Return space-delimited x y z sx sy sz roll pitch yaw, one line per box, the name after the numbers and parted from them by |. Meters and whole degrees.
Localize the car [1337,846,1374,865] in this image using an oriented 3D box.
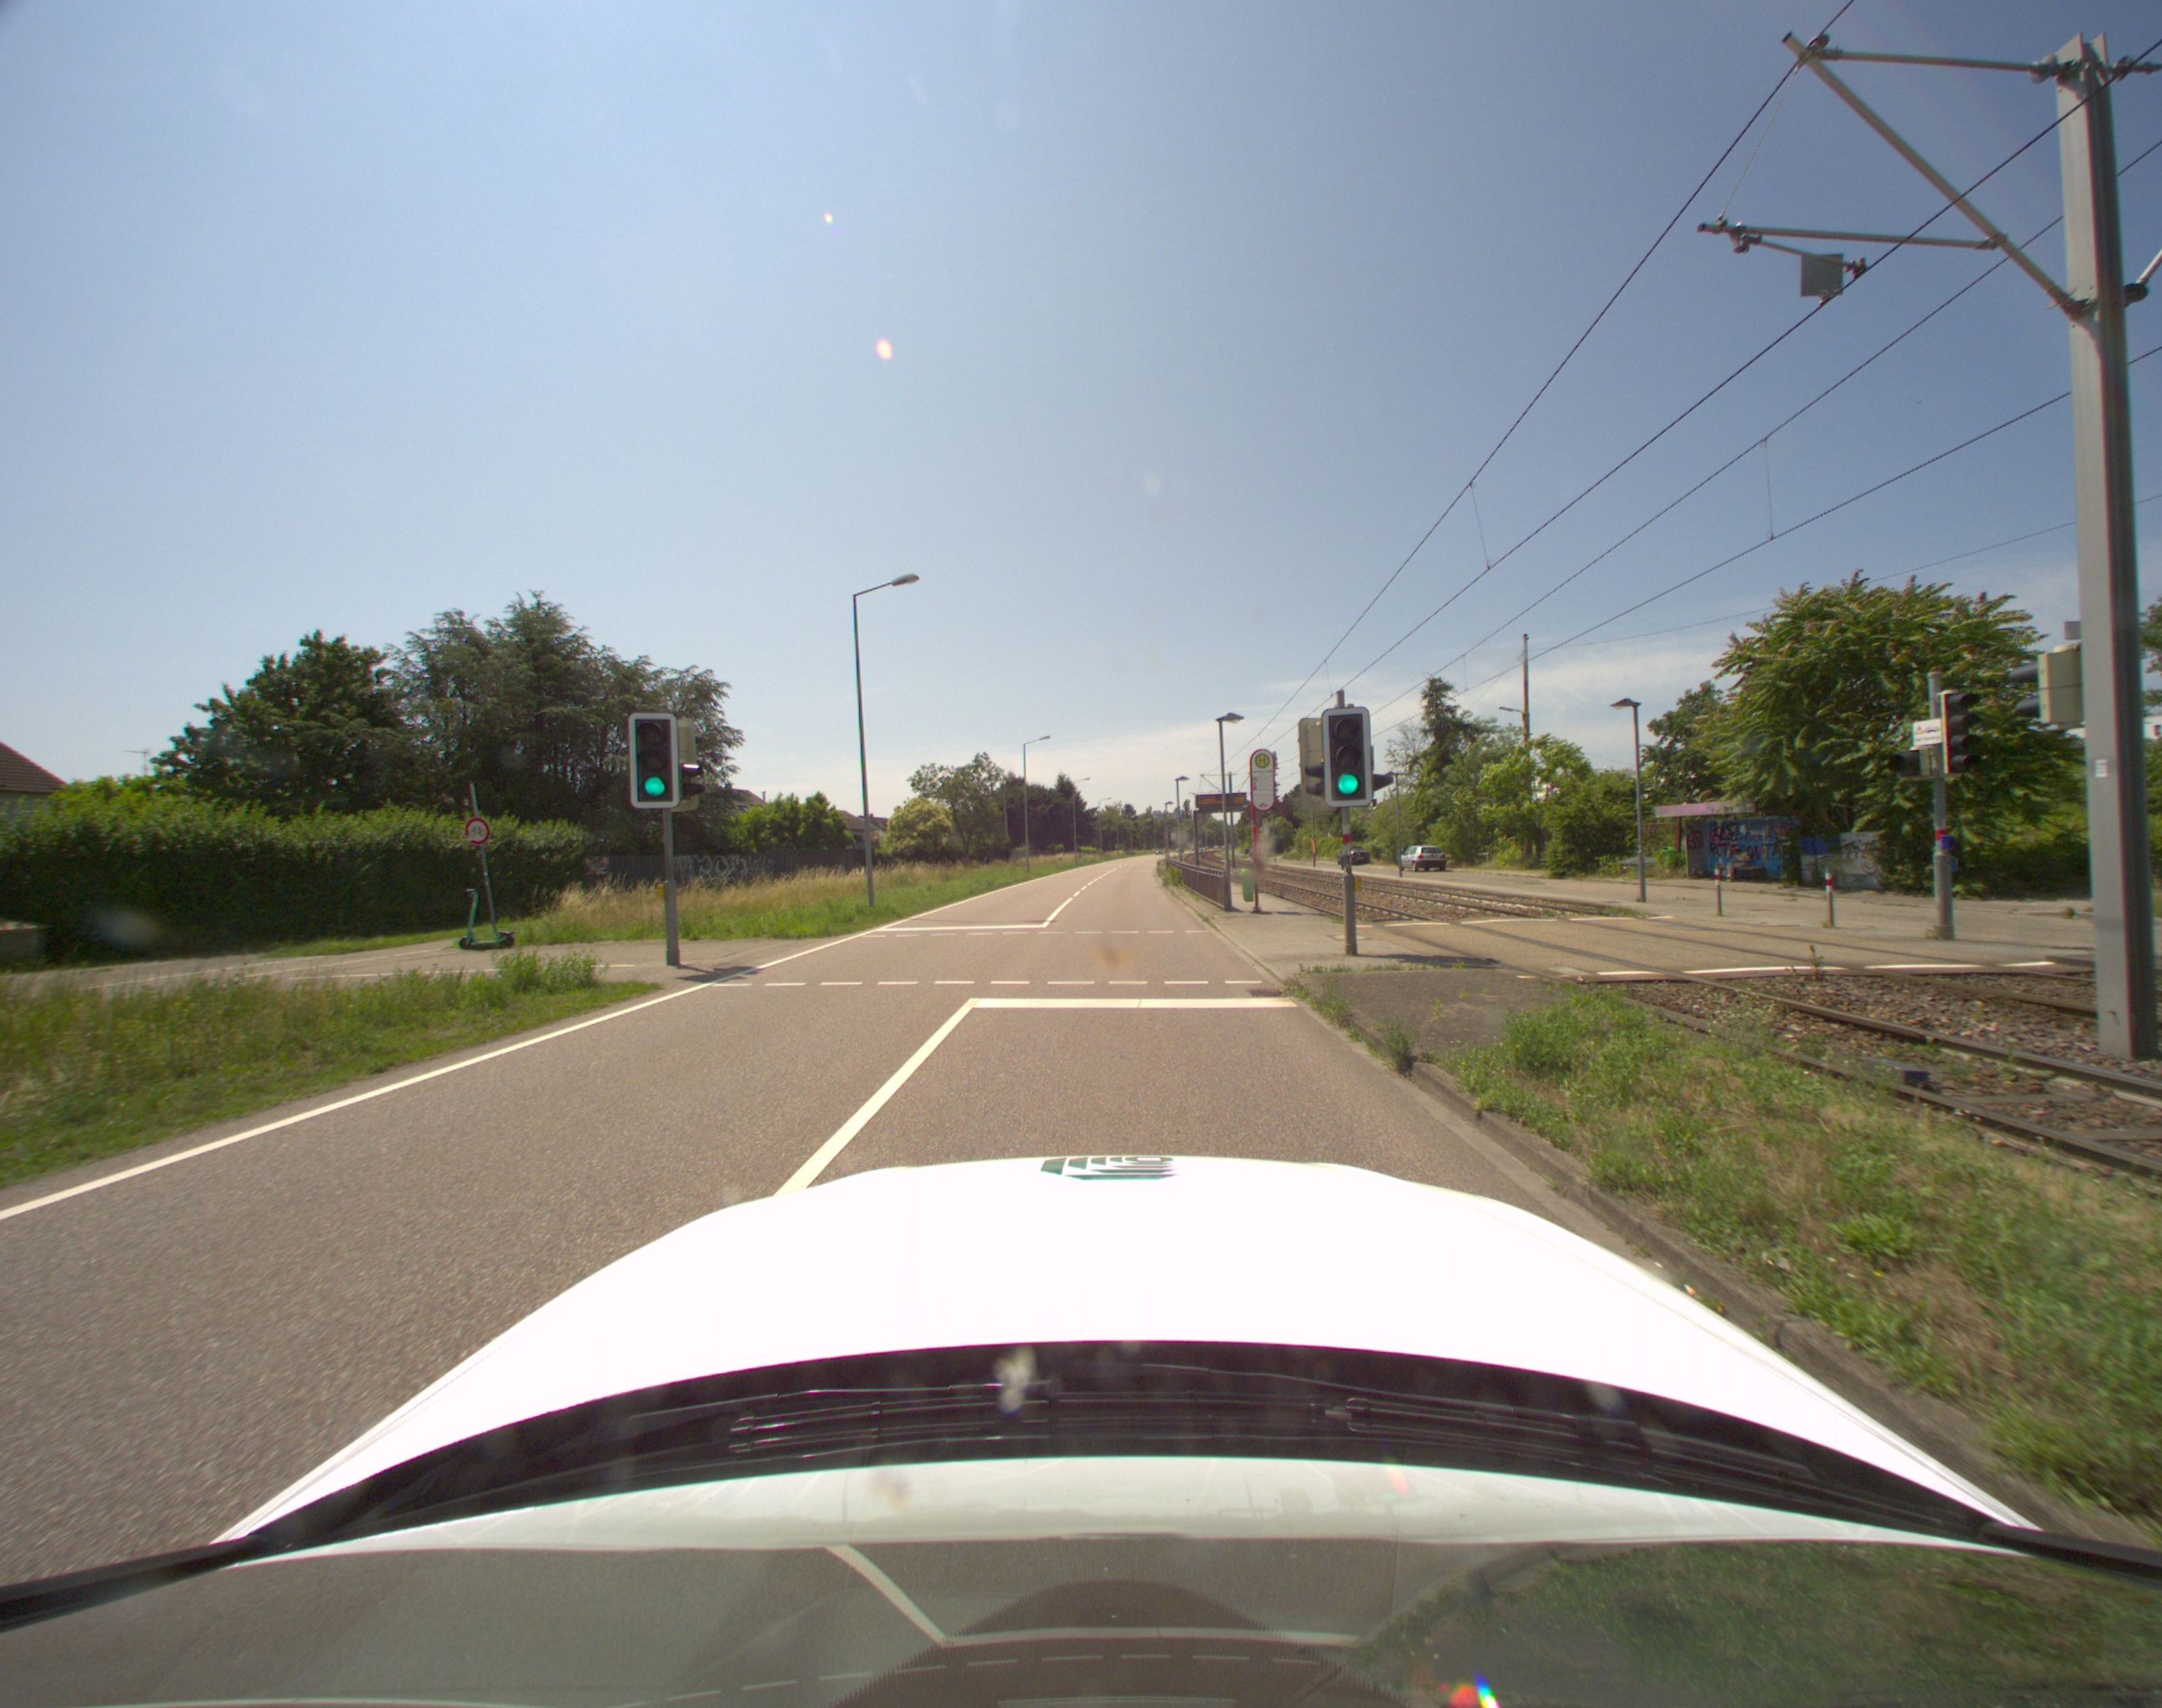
21.532 0.087 64.024 1.612 1.422 4.880 -1 0 5 | car

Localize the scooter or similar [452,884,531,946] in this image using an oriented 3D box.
-11.622 1.195 16.079 1.017 1.128 0.647 -2 0 -7 | scooter or similar

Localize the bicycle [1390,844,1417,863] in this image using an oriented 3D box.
22.813 -0.032 57.622 0.706 1.269 1.664 -2 0 -30 | bicycle

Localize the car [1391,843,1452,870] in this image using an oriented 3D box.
18.883 0.129 45.347 1.930 1.422 4.005 -1 0 4 | car

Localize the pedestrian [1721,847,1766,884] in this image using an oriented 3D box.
19.960 0.349 24.540 0.803 1.087 0.721 -2 0 12 | pedestrian

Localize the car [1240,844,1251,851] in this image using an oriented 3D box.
33.654 -1.299 166.534 1.903 1.470 4.010 -1 0 9 | car

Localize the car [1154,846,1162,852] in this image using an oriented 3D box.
18.955 -1.262 199.956 1.697 1.404 4.717 -1 0 7 | car

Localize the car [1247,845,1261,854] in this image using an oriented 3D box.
28.398 -0.772 133.687 1.851 1.330 4.523 -1 0 6 | car
